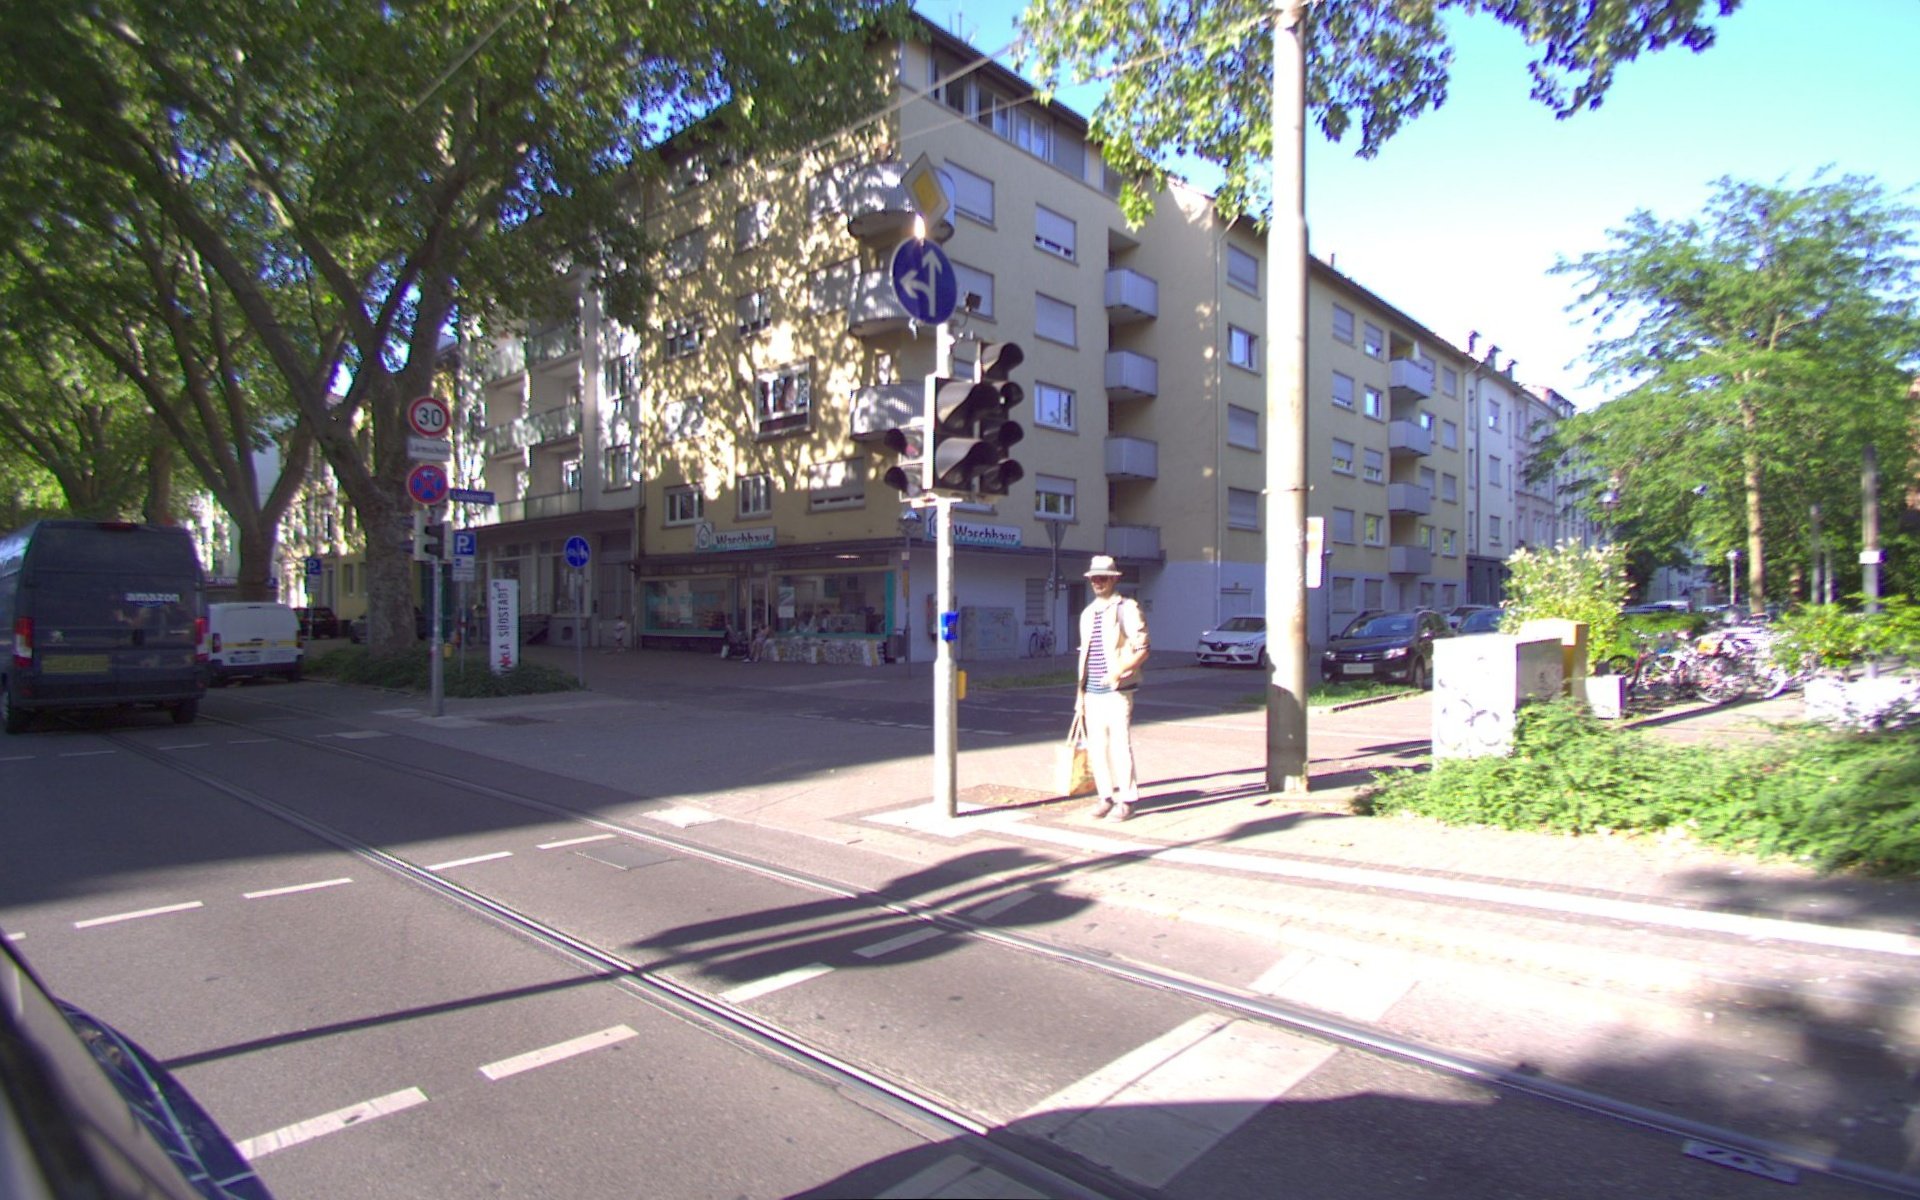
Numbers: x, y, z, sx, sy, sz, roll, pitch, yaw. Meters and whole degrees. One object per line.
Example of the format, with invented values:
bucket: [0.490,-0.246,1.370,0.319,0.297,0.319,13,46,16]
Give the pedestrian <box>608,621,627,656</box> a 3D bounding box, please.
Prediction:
pedestrian: [-11.253,1.263,33.249,0.436,1.114,0.417,-1,0,32]

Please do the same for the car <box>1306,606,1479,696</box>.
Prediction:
car: [8.517,0.909,19.759,1.999,1.519,3.945,-1,0,41]

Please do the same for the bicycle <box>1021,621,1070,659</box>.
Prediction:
bicycle: [2.560,1.189,30.161,0.543,1.092,1.615,-3,-2,43]

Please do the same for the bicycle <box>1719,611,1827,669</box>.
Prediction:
bicycle: [16.098,0.771,20.058,1.638,1.092,0.536,-1,0,41]

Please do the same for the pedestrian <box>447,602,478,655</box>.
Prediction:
pedestrian: [-18.106,1.016,36.815,0.863,1.883,0.737,-1,0,40]

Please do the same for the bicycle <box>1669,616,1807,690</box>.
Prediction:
bicycle: [12.162,0.827,15.850,1.638,1.092,0.536,-3,-2,41]

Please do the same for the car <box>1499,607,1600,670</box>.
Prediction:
car: [17.485,1.078,29.945,1.867,1.674,3.945,-1,0,41]

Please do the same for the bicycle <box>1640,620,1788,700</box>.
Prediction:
bicycle: [10.934,0.872,14.705,1.638,1.092,0.536,-4,-2,41]

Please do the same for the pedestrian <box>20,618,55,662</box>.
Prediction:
pedestrian: [-36.761,1.584,40.316,0.707,1.748,0.767,-1,0,15]

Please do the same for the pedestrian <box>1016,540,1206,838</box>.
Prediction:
pedestrian: [1.040,0.561,6.947,0.919,1.849,0.915,-2,-1,39]

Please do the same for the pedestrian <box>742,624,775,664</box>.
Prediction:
pedestrian: [-5.581,1.215,28.042,0.711,1.055,0.572,-1,0,41]

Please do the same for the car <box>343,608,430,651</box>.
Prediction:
car: [-25.362,1.257,44.653,4.898,1.746,1.972,-1,0,43]

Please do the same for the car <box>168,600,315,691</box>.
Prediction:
car: [-16.435,0.960,23.073,4.316,1.864,1.745,-1,0,41]

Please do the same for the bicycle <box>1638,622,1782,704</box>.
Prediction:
bicycle: [10.523,0.888,14.239,1.536,1.092,0.536,-4,-3,41]

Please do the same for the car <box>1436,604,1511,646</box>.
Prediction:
car: [22.241,1.051,43.759,1.999,1.696,3.945,-1,0,41]

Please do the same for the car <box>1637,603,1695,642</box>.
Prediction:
car: [33.428,1.046,47.906,1.823,1.719,3.945,-1,0,41]

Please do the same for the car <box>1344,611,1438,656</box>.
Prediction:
car: [15.512,1.155,36.341,1.999,1.469,3.945,-1,0,41]

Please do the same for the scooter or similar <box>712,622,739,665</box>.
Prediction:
scooter or similar: [-6.560,1.206,28.263,0.633,1.176,0.677,-1,0,-21]

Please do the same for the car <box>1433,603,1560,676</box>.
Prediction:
car: [13.534,0.926,25.422,1.960,1.674,3.945,-1,-1,41]

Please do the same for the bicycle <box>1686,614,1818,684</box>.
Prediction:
bicycle: [13.070,0.816,16.735,1.638,1.092,0.536,-4,-2,41]

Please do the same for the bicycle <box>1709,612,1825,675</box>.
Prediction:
bicycle: [14.747,0.774,18.523,1.638,1.092,0.536,-1,0,41]

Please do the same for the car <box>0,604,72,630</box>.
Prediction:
car: [-77.558,1.402,84.314,1.997,2.010,5.072,-1,0,37]

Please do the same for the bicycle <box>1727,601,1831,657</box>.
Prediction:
bicycle: [16.834,0.585,20.821,1.638,1.092,0.536,-1,0,41]

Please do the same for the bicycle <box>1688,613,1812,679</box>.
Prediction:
bicycle: [13.690,0.787,17.566,1.638,1.092,0.535,-2,-2,41]

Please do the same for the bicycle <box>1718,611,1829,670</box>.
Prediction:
bicycle: [15.654,0.754,19.491,1.638,1.092,0.536,-1,0,41]

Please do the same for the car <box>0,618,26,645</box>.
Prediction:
car: [-85.109,2.761,88.705,2.000,2.323,4.600,-1,0,42]

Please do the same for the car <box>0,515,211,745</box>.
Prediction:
car: [-13.102,0.403,14.931,6.113,2.759,2.091,-1,-2,42]

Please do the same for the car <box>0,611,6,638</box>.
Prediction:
car: [-96.029,2.424,98.434,2.000,2.552,4.600,-1,0,42]

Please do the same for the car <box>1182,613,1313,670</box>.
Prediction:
car: [7.979,1.089,27.914,1.999,1.386,3.945,-1,0,41]
